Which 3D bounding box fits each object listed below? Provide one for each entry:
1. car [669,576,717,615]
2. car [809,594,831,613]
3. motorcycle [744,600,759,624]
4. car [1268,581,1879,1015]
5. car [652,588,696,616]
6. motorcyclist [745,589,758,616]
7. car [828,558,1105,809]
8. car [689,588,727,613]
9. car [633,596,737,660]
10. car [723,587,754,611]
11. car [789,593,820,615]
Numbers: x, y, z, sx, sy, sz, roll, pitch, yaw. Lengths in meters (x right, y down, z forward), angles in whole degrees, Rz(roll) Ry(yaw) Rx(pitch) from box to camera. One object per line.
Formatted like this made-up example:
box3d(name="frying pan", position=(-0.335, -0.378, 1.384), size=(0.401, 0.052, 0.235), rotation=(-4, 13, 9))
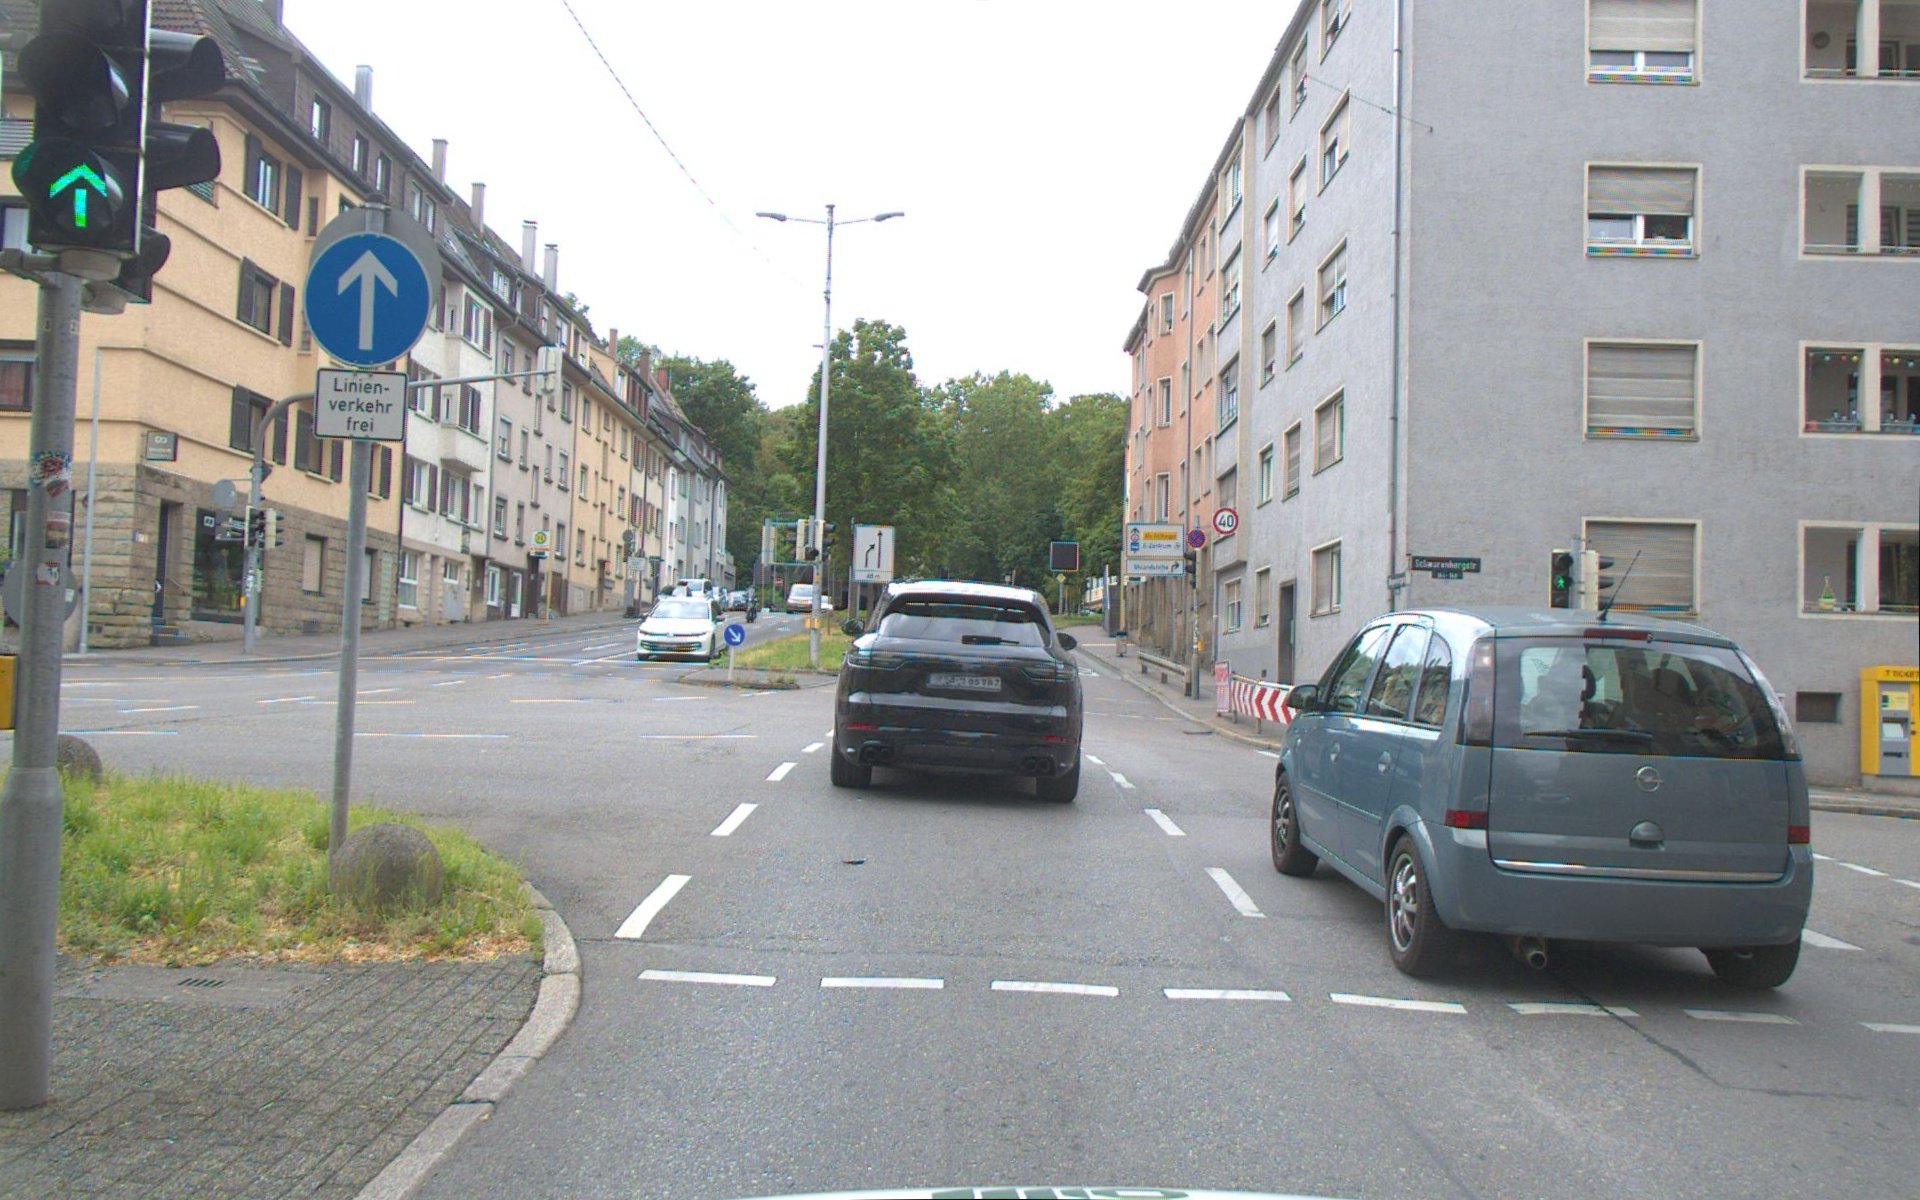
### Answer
box3d(name="car", position=(-15.085, -0.261, 93.638), size=(1.975, 2.081, 4.666), rotation=(1, 0, -1))
box3d(name="car", position=(-11.172, 0.268, 131.931), size=(1.459, 1.400, 3.244), rotation=(1, 0, -1))
box3d(name="motorcycle", position=(-9.578, 0.557, 75.887), size=(0.501, 1.058, 1.389), rotation=(1, 0, -1))
box3d(name="car", position=(2.738, 0.772, 8.281), size=(1.595, 1.625, 3.668), rotation=(2, 0, -1))
box3d(name="car", position=(-15.116, 0.120, 87.589), size=(1.703, 1.411, 3.813), rotation=(1, 0, -1))
box3d(name="motorcyclist", position=(-9.567, 0.109, 75.937), size=(0.501, 1.247, 0.467), rotation=(1, 0, -1))
box3d(name="car", position=(0.017, 0.627, 13.995), size=(1.916, 1.703, 3.999), rotation=(3, -1, -1))
box3d(name="car", position=(-15.063, 0.018, 98.999), size=(1.703, 1.411, 3.813), rotation=(1, 0, -1))
box3d(name="car", position=(-6.525, 0.628, 39.654), size=(1.824, 1.412, 4.094), rotation=(1, 0, -1))
box3d(name="car", position=(-15.220, -0.093, 113.753), size=(1.655, 1.565, 3.813), rotation=(1, 0, -1))
box3d(name="car", position=(-9.515, 0.218, 101.318), size=(1.519, 1.279, 3.662), rotation=(1, 0, -1))
